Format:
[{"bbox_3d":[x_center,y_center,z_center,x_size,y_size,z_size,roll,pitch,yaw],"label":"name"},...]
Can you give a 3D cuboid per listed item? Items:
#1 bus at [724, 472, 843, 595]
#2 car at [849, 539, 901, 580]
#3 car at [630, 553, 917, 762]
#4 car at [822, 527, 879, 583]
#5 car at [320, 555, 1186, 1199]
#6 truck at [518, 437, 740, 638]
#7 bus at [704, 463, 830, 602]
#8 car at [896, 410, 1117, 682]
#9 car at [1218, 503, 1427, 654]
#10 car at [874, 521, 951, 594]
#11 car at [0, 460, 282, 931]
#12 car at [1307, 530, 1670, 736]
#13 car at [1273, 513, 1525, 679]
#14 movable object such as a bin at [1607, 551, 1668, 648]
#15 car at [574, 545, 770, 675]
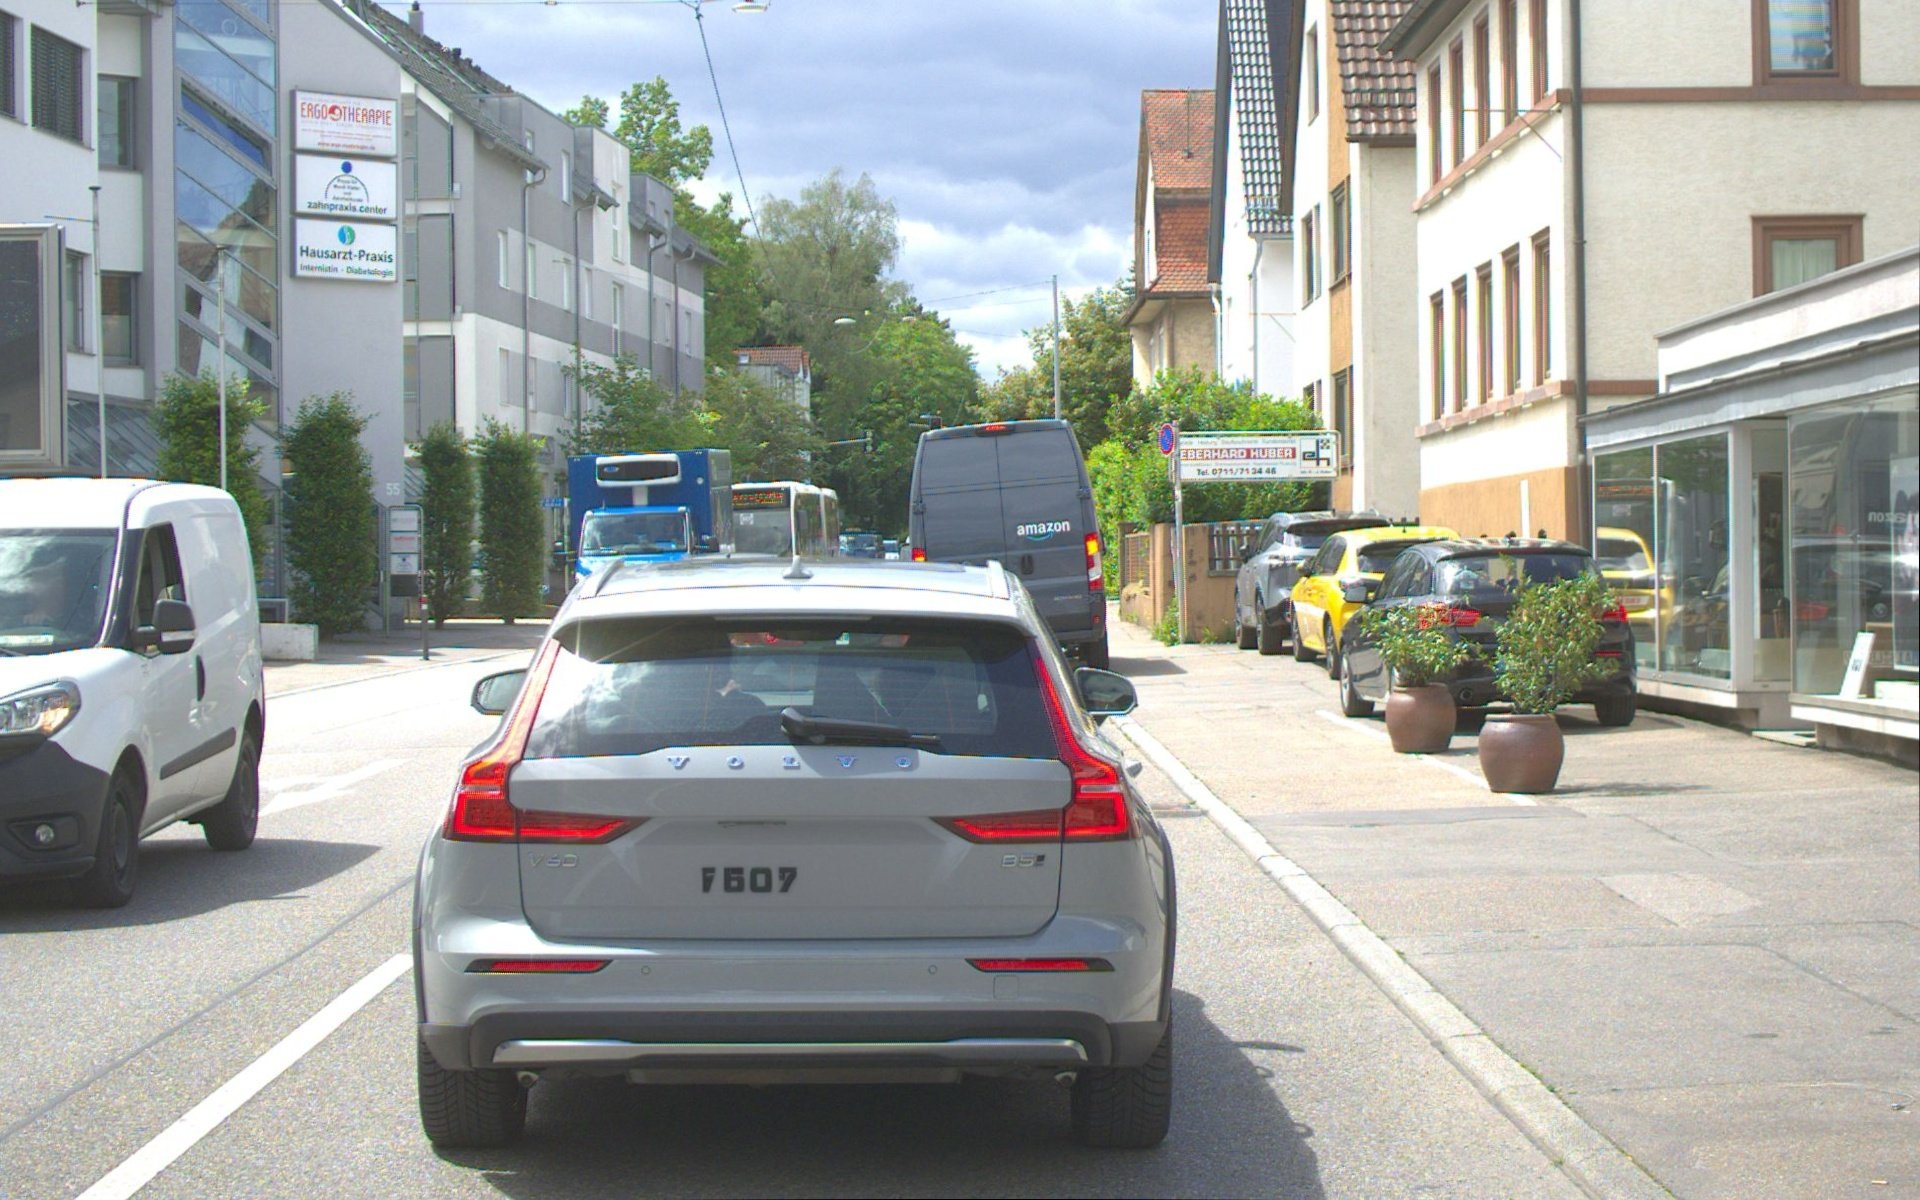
[{"bbox_3d":[-4.736,-1.790,93.495,2.716,3.153,8.069,-1,1,0],"label":"bus"},{"bbox_3d":[-3.583,-1.717,145.208,2.105,1.704,4.766,-1,1,-1],"label":"car"},{"bbox_3d":[-1.337,0.375,26.179,1.896,1.441,3.968,0,1,1],"label":"car"},{"bbox_3d":[-4.237,-1.753,134.154,2.105,2.114,4.766,-1,1,-1],"label":"car"},{"bbox_3d":[-0.406,0.614,9.505,1.896,1.448,3.968,0,1,2],"label":"car"},{"bbox_3d":[-5.405,-1.038,57.500,2.853,3.082,8.089,-1,1,0],"label":"truck"},{"bbox_3d":[-4.642,-1.636,84.400,2.682,3.153,10.185,-1,1,-1],"label":"bus"},{"bbox_3d":[0.490,-0.612,38.577,2.252,2.786,5.569,-1,1,0],"label":"car"},{"bbox_3d":[4.185,-0.285,40.331,1.860,1.606,4.586,-2,1,-1],"label":"car"},{"bbox_3d":[-1.325,-1.209,97.320,1.993,2.007,4.000,0,1,2],"label":"car"},{"bbox_3d":[-4.433,0.346,15.407,1.945,1.814,4.279,-1,1,-1],"label":"car"},{"bbox_3d":[4.040,0.194,27.039,1.968,1.442,4.536,-1,1,-2],"label":"car"},{"bbox_3d":[4.464,-0.094,35.544,1.877,1.442,4.308,-1,3,-2],"label":"car"},{"bbox_3d":[6.591,-0.008,33.460,0.501,0.922,0.598,-1,1,4],"label":"movable object such as a bin"},{"bbox_3d":[-3.372,0.083,40.875,1.896,1.441,3.968,0,1,2],"label":"car"}]
